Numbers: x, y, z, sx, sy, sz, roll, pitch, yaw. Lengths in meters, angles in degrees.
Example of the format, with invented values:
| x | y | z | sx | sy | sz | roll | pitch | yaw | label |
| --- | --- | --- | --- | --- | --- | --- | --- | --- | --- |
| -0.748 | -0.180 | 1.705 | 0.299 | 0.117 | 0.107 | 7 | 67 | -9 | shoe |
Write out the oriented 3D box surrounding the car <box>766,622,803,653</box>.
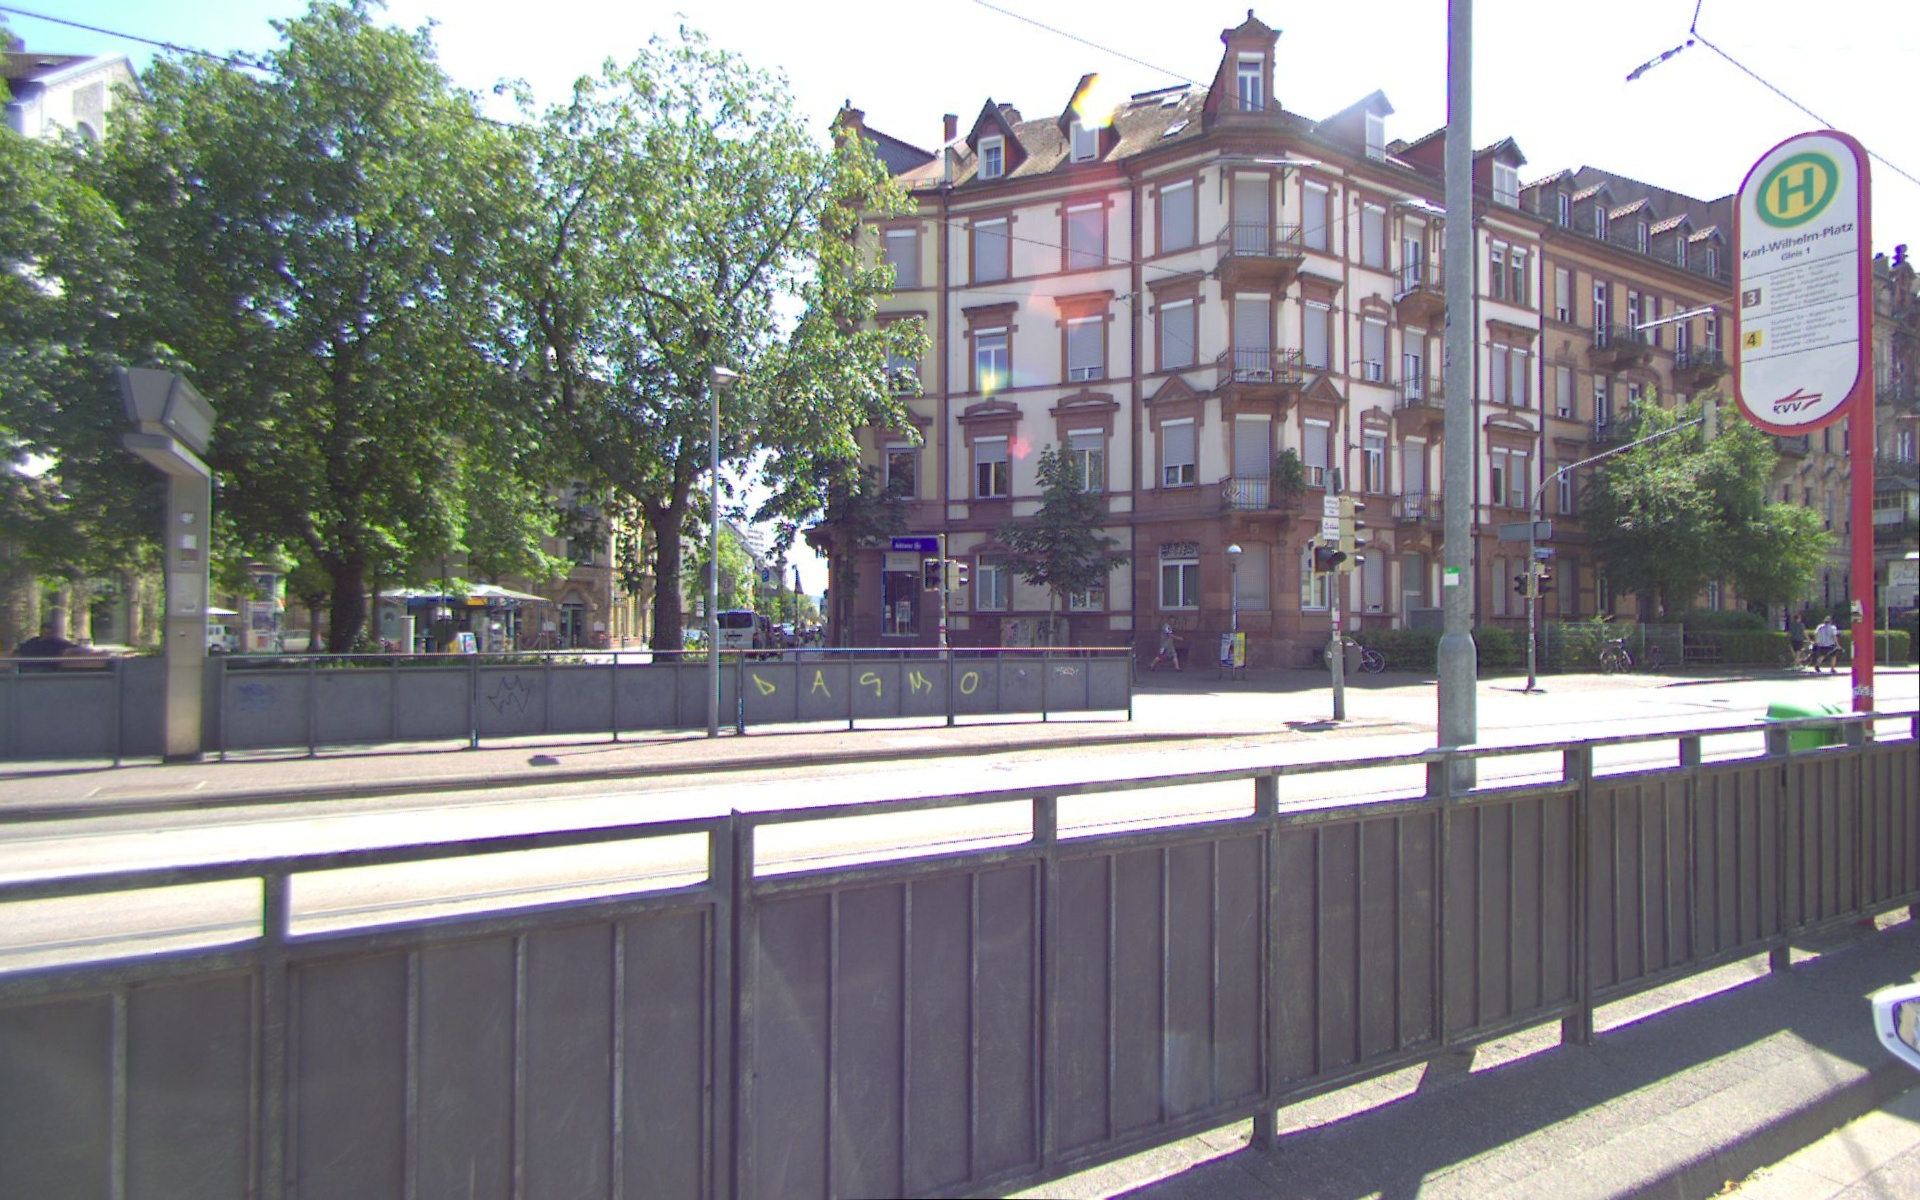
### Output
| x | y | z | sx | sy | sz | roll | pitch | yaw | label |
| --- | --- | --- | --- | --- | --- | --- | --- | --- | --- |
| -10.374 | 2.181 | 59.457 | 1.684 | 1.617 | 3.998 | 2 | 0 | -4 | car |

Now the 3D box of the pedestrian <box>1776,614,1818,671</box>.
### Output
| x | y | z | sx | sy | sz | roll | pitch | yaw | label |
| --- | --- | --- | --- | --- | --- | --- | --- | --- | --- |
| 27.891 | 1.394 | 33.469 | 0.863 | 1.847 | 0.812 | 0 | 1 | -31 | pedestrian |

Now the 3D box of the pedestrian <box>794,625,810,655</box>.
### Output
| x | y | z | sx | sy | sz | roll | pitch | yaw | label |
| --- | --- | --- | --- | --- | --- | --- | --- | --- | --- |
| -8.668 | 2.177 | 55.022 | 0.790 | 1.632 | 0.731 | 0 | -1 | -4 | pedestrian |

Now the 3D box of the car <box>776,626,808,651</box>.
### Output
| x | y | z | sx | sy | sz | roll | pitch | yaw | label |
| --- | --- | --- | --- | --- | --- | --- | --- | --- | --- |
| -12.484 | 2.848 | 74.761 | 1.962 | 1.617 | 3.998 | 2 | 0 | -4 | car |

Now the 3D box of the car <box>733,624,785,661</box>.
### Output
| x | y | z | sx | sy | sz | roll | pitch | yaw | label |
| --- | --- | --- | --- | --- | --- | --- | --- | --- | --- |
| -9.626 | 2.014 | 48.292 | 1.893 | 1.541 | 3.998 | 2 | 0 | -4 | car |

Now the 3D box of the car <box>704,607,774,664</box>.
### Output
| x | y | z | sx | sy | sz | roll | pitch | yaw | label |
| --- | --- | --- | --- | --- | --- | --- | --- | --- | --- |
| -8.329 | 1.302 | 38.221 | 1.962 | 1.970 | 3.998 | 2 | 0 | -4 | car |

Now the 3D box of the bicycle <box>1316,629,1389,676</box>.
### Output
| x | y | z | sx | sy | sz | roll | pitch | yaw | label |
| --- | --- | --- | --- | --- | --- | --- | --- | --- | --- |
| 11.665 | 1.559 | 29.866 | 1.923 | 1.312 | 0.564 | 2 | 0 | 11 | bicycle |

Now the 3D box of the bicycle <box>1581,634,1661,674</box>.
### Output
| x | y | z | sx | sy | sz | roll | pitch | yaw | label |
| --- | --- | --- | --- | --- | --- | --- | --- | --- | --- |
| 20.228 | 1.646 | 30.720 | 2.742 | 1.151 | 0.932 | 2 | 0 | -31 | bicycle |

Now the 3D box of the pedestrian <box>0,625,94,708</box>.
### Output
| x | y | z | sx | sy | sz | roll | pitch | yaw | label |
| --- | --- | --- | --- | --- | --- | --- | --- | --- | --- |
| -14.660 | 1.047 | 16.109 | 0.925 | 1.261 | 0.860 | 2 | 0 | -24 | pedestrian |

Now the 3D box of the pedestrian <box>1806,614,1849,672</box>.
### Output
| x | y | z | sx | sy | sz | roll | pitch | yaw | label |
| --- | --- | --- | --- | --- | --- | --- | --- | --- | --- |
| 28.347 | 1.398 | 32.826 | 0.863 | 1.847 | 0.812 | 0 | 1 | -31 | pedestrian |

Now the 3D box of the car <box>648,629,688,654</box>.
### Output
| x | y | z | sx | sy | sz | roll | pitch | yaw | label |
| --- | --- | --- | --- | --- | --- | --- | --- | --- | --- |
| -20.660 | 2.921 | 71.167 | 1.846 | 1.617 | 3.998 | 2 | 0 | -4 | car |

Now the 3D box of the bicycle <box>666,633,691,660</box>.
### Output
| x | y | z | sx | sy | sz | roll | pitch | yaw | label |
| --- | --- | --- | --- | --- | --- | --- | --- | --- | --- |
| -11.880 | 1.962 | 42.422 | 0.687 | 1.070 | 1.765 | 1 | -1 | -7 | bicycle |

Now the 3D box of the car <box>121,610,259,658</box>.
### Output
| x | y | z | sx | sy | sz | roll | pitch | yaw | label |
| --- | --- | --- | --- | --- | --- | --- | --- | --- | --- |
| -31.189 | 1.372 | 40.819 | 3.932 | 1.814 | 1.994 | 2 | 0 | -14 | car |

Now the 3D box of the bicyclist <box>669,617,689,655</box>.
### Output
| x | y | z | sx | sy | sz | roll | pitch | yaw | label |
| --- | --- | --- | --- | --- | --- | --- | --- | --- | --- |
| -11.873 | 1.514 | 42.443 | 0.687 | 1.613 | 0.849 | 1 | -1 | -7 | bicyclist |

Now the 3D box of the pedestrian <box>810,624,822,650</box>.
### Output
| x | y | z | sx | sy | sz | roll | pitch | yaw | label |
| --- | --- | --- | --- | --- | --- | --- | --- | --- | --- |
| -9.148 | 2.376 | 63.884 | 0.742 | 1.632 | 0.688 | 0 | -1 | -4 | pedestrian |

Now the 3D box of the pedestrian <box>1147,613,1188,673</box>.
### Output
| x | y | z | sx | sy | sz | roll | pitch | yaw | label |
| --- | --- | --- | --- | --- | --- | --- | --- | --- | --- |
| 6.118 | 1.261 | 29.570 | 1.042 | 1.712 | 0.722 | -1 | -1 | 26 | pedestrian |

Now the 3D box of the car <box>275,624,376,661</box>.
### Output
| x | y | z | sx | sy | sz | roll | pitch | yaw | label |
| --- | --- | --- | --- | --- | --- | --- | --- | --- | --- |
| -32.076 | 2.164 | 50.894 | 3.920 | 1.730 | 1.761 | 2 | 0 | -14 | car |

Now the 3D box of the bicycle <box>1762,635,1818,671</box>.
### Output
| x | y | z | sx | sy | sz | roll | pitch | yaw | label |
| --- | --- | --- | --- | --- | --- | --- | --- | --- | --- |
| 28.525 | 1.803 | 34.488 | 2.750 | 1.151 | 0.930 | 2 | 0 | -39 | bicycle |
